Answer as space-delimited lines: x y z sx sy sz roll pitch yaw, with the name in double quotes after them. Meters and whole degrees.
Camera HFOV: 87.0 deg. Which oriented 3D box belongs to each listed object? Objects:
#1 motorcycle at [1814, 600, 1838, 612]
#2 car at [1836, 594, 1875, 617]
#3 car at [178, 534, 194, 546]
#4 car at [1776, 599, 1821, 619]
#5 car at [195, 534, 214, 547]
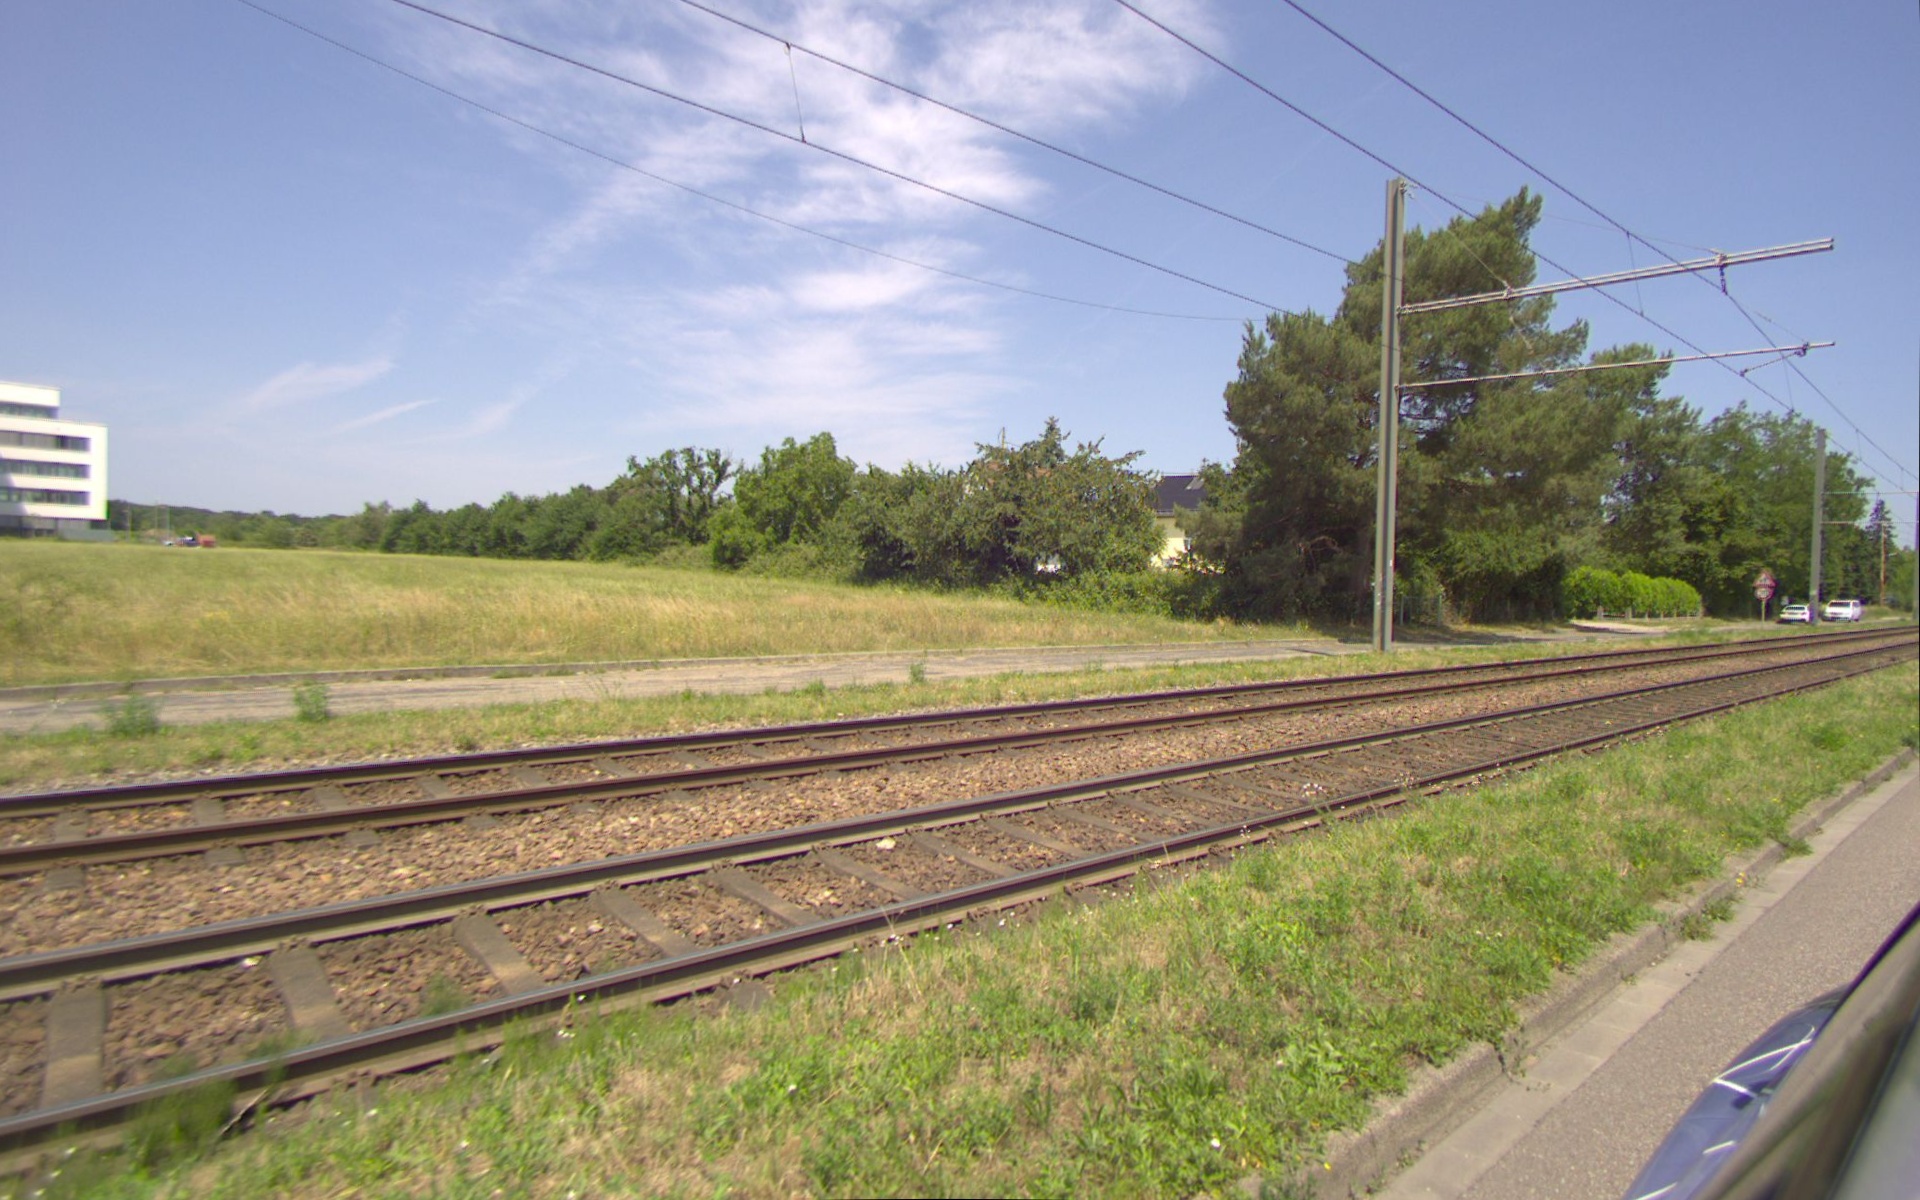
70.387 0.471 82.252 2.738 0.918 0.859 0 1 -36 "motorcycle"
77.760 0.448 87.860 4.506 1.849 1.862 0 1 -40 "car"
-131.972 -10.249 172.591 1.735 1.841 4.207 0 1 -44 "car"
62.088 0.646 74.905 3.929 1.401 1.922 0 1 -40 "car"
-119.558 -9.449 160.126 1.834 1.940 4.675 0 1 -43 "car"
